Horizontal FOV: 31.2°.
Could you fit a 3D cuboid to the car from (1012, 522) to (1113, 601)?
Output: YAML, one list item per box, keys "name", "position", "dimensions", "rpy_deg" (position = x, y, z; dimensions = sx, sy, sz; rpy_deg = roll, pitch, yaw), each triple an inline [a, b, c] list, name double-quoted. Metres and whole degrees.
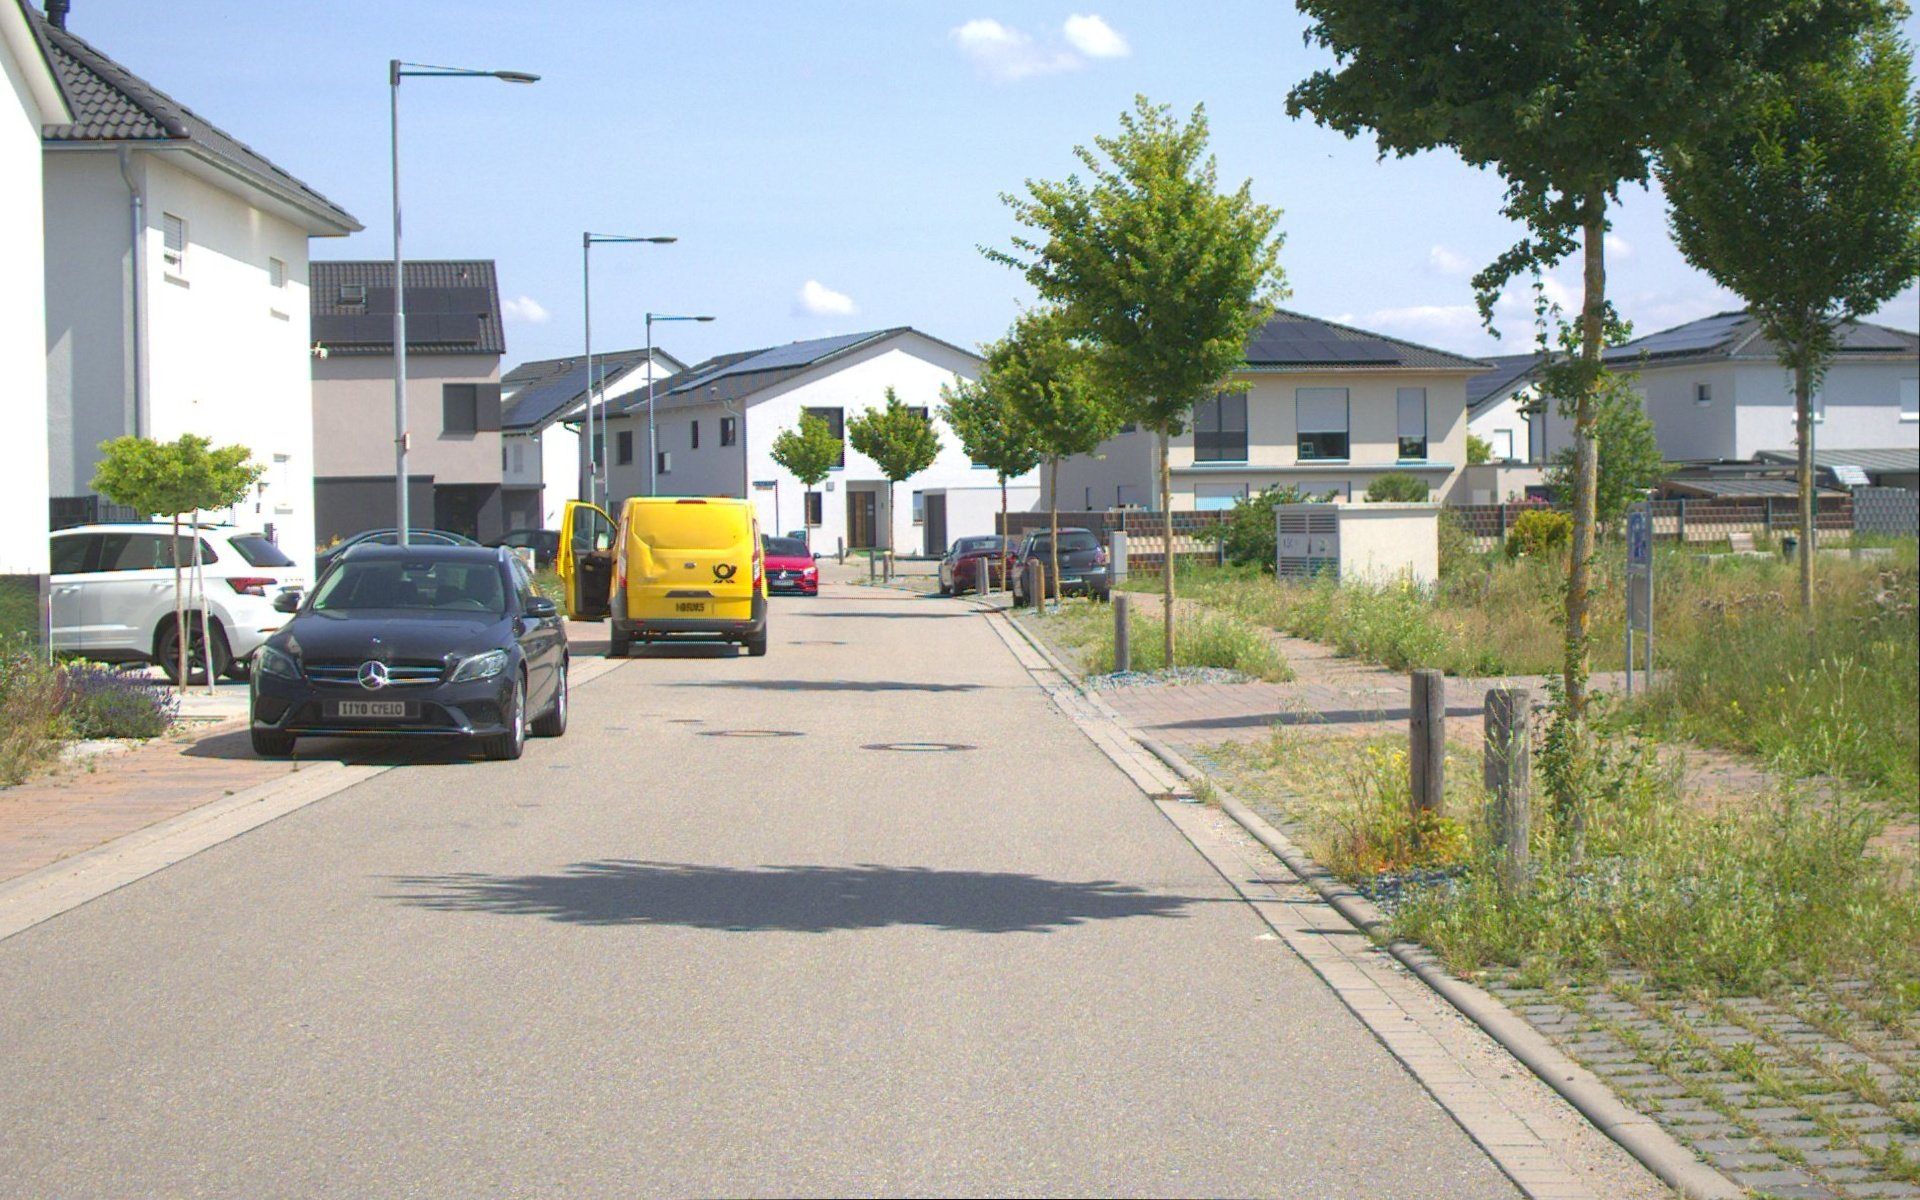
- name: "car"
  position: [1.895, -0.695, 64.527]
  dimensions: [1.639, 1.398, 3.811]
  rpy_deg: [-1, 0, -2]

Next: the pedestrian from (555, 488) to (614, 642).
- name: "pedestrian"
  position: [-4.967, -0.460, 45.552]
  dimensions: [0.651, 2.007, 1.124]
  rpy_deg: [-1, 0, -1]

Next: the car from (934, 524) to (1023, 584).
- name: "car"
  position: [0.428, -1.097, 83.134]
  dimensions: [1.627, 1.318, 3.834]
  rpy_deg: [-1, -1, -7]

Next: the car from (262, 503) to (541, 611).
- name: "car"
  position: [-8.963, -0.689, 55.125]
  dimensions: [4.159, 1.499, 1.816]
  rpy_deg: [3, 0, -16]

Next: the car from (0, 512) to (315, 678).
- name: "car"
  position: [-8.758, -0.077, 34.756]
  dimensions: [4.069, 1.576, 1.784]
  rpy_deg: [1, 2, 5]

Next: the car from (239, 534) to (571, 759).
- name: "car"
  position: [-3.852, 0.266, 24.499]
  dimensions: [1.745, 1.400, 4.160]
  rpy_deg: [1, 1, -1]

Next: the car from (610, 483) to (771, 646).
- name: "car"
  position: [-3.485, -0.453, 44.425]
  dimensions: [1.941, 1.974, 4.218]
  rpy_deg: [-1, 0, -5]

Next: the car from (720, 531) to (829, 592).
- name: "car"
  position: [-4.576, -0.925, 84.003]
  dimensions: [1.993, 1.426, 4.702]
  rpy_deg: [-1, 0, -11]
